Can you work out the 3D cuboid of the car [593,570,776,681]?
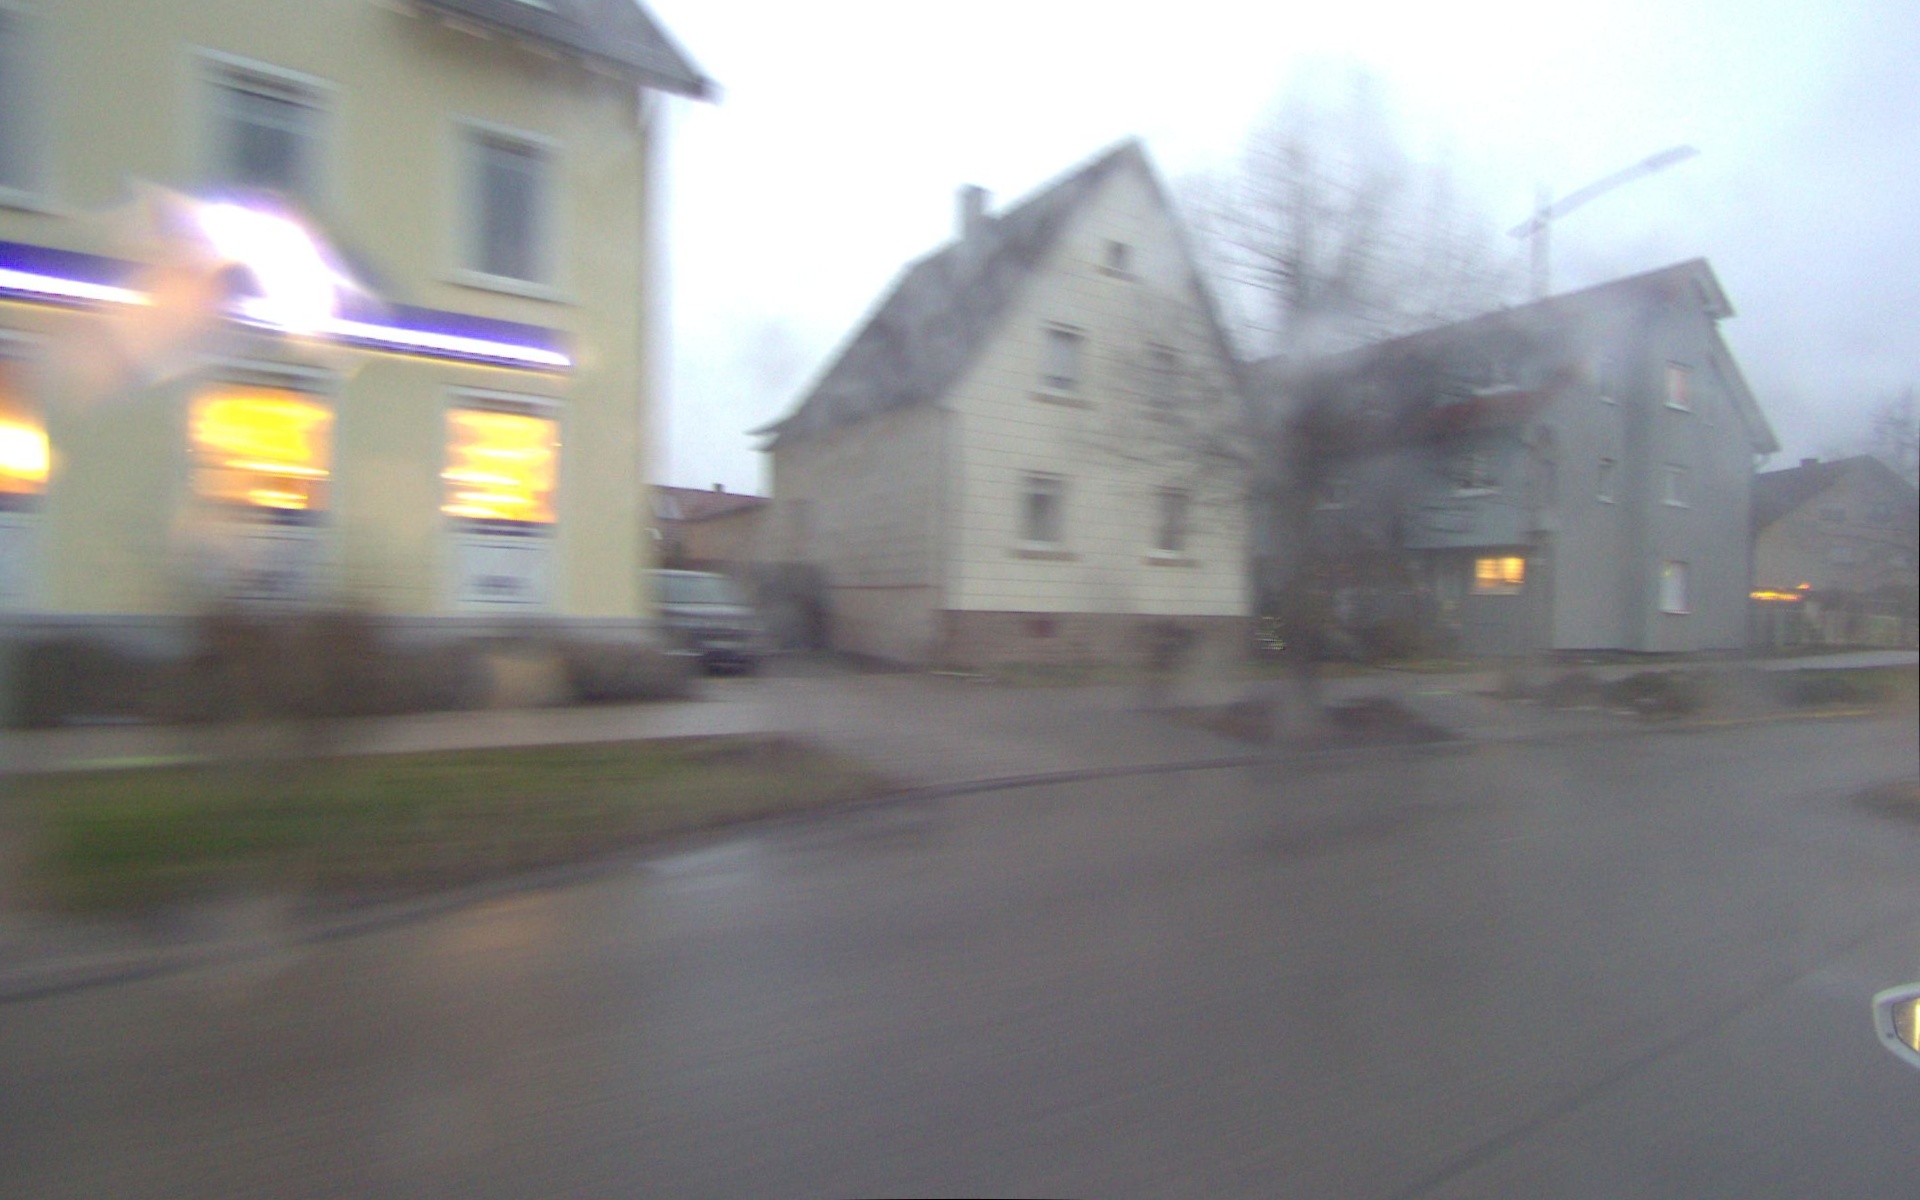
[{"bbox_3d":[-4.718,0.381,16.813,1.901,1.621,3.965,1,0,-32],"label":"car"}]
